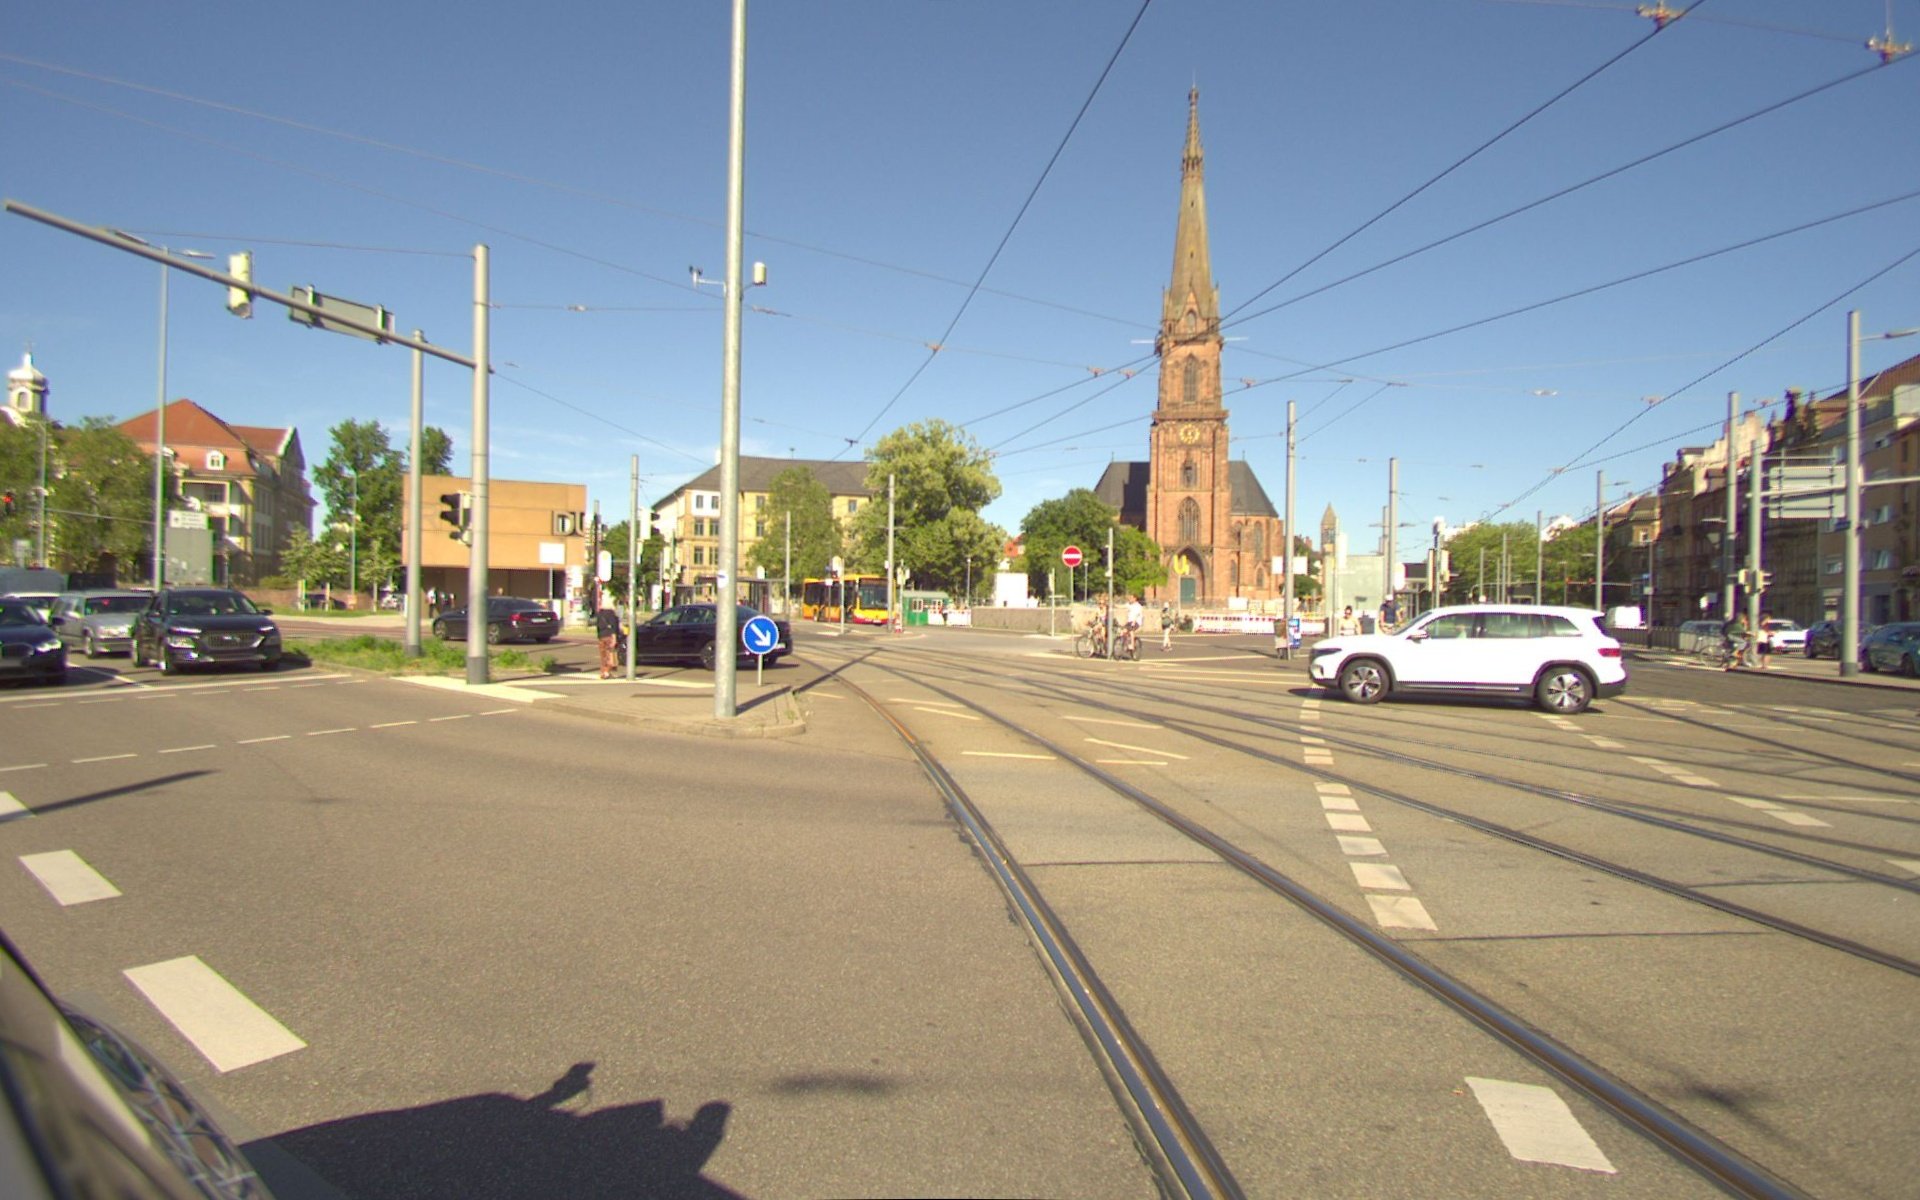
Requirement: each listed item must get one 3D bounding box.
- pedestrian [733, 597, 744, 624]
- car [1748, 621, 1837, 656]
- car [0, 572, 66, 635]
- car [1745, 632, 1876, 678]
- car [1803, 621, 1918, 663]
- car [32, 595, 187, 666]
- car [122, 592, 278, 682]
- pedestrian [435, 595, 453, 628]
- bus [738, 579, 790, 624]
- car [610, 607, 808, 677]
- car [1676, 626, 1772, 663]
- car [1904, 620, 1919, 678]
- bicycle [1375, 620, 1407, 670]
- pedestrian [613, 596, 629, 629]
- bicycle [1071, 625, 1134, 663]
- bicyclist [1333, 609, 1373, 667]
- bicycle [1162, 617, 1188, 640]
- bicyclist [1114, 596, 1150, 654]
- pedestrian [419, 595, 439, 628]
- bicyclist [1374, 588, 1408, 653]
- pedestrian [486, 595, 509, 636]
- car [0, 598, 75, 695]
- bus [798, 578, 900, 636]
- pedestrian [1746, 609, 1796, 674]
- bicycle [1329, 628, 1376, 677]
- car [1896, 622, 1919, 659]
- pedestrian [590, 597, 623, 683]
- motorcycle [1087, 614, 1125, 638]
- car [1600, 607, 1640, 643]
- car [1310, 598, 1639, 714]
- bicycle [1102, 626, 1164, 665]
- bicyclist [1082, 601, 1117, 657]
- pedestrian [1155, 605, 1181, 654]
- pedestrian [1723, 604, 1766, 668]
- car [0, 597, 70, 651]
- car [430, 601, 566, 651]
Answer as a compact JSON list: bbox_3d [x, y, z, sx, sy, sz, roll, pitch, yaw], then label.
[{"bbox_3d":[-15.733,0.731,71.970,0.679,1.875,0.732,0,1,-19],"label":"pedestrian"},{"bbox_3d":[36.007,1.637,43.911,1.786,1.338,4.562,1,0,24],"label":"car"},{"bbox_3d":[-43.015,0.117,45.883,5.286,2.701,2.221,0,1,31],"label":"car"},{"bbox_3d":[28.687,1.819,34.312,1.897,1.371,3.980,0,-1,16],"label":"car"},{"bbox_3d":[32.653,1.479,36.855,1.786,1.338,4.562,1,0,24],"label":"car"},{"bbox_3d":[-19.803,0.632,23.500,4.654,1.469,1.803,0,1,38],"label":"car"},{"bbox_3d":[-14.715,0.631,19.524,3.913,1.543,1.664,0,1,41],"label":"car"},{"bbox_3d":[-27.231,0.580,53.438,0.634,1.725,0.703,0,1,-9],"label":"pedestrian"},{"bbox_3d":[-14.082,0.142,72.250,2.104,3.069,8.586,-1,0,-21],"label":"bus"},{"bbox_3d":[-5.698,0.874,22.781,4.468,1.427,1.831,0,0,34],"label":"car"},{"bbox_3d":[31.565,1.801,41.973,1.782,1.338,4.572,1,0,18],"label":"car"},{"bbox_3d":[26.371,1.266,26.025,4.521,1.469,1.919,1,0,-31],"label":"car"},{"bbox_3d":[11.471,1.176,26.988,0.611,1.266,1.952,1,-1,19],"label":"bicycle"},{"bbox_3d":[-19.857,0.727,59.294,0.844,1.895,0.695,0,1,-15],"label":"pedestrian"},{"bbox_3d":[4.046,1.221,28.540,0.615,0.997,2.445,0,-1,38],"label":"bicycle"},{"bbox_3d":[9.278,0.888,23.914,0.757,1.332,0.786,0,-1,31],"label":"bicyclist"},{"bbox_3d":[12.247,1.613,57.620,1.476,1.279,0.366,-1,1,-19],"label":"bicycle"},{"bbox_3d":[4.726,0.671,27.797,0.595,1.561,0.983,0,0,38],"label":"bicyclist"},{"bbox_3d":[-28.215,0.581,53.754,0.738,1.725,0.703,0,1,-9],"label":"pedestrian"},{"bbox_3d":[11.459,0.533,26.929,0.754,1.688,0.790,0,-1,19],"label":"bicyclist"},{"bbox_3d":[-21.332,0.701,46.712,0.844,1.843,0.704,0,1,-15],"label":"pedestrian"},{"bbox_3d":[-16.266,0.715,16.749,4.010,1.469,1.862,0,1,40],"label":"car"},{"bbox_3d":[-7.197,0.242,63.530,2.801,3.144,11.861,-1,2,-25],"label":"bus"},{"bbox_3d":[23.595,1.176,29.443,0.978,1.813,0.995,-1,1,-41],"label":"pedestrian"},{"bbox_3d":[9.298,1.217,23.935,0.615,1.114,1.704,0,-1,36],"label":"bicycle"},{"bbox_3d":[47.030,1.965,48.483,1.988,1.678,3.967,0,1,24],"label":"car"},{"bbox_3d":[-6.599,0.724,18.885,0.367,1.567,0.645,-1,1,-42],"label":"pedestrian"},{"bbox_3d":[8.013,1.428,55.563,2.070,1.263,0.536,-1,1,-24],"label":"motorcycle"},{"bbox_3d":[61.459,2.274,94.308,1.984,3.130,4.891,0,1,19],"label":"car"},{"bbox_3d":[8.107,0.834,16.495,4.530,1.653,1.991,0,-1,20],"label":"car"},{"bbox_3d":[4.794,1.235,27.907,0.615,0.997,2.445,0,-1,38],"label":"bicycle"},{"bbox_3d":[3.908,0.798,28.382,0.576,1.540,0.944,0,1,38],"label":"bicyclist"},{"bbox_3d":[7.039,0.996,34.305,0.608,1.620,0.705,0,1,40],"label":"pedestrian"},{"bbox_3d":[24.174,1.089,31.194,0.993,1.917,0.980,0,1,41],"label":"pedestrian"},{"bbox_3d":[-28.055,0.660,29.893,4.654,1.469,1.803,0,1,38],"label":"car"},{"bbox_3d":[-14.722,0.780,32.170,4.633,1.469,1.865,0,0,35],"label":"car"}]
